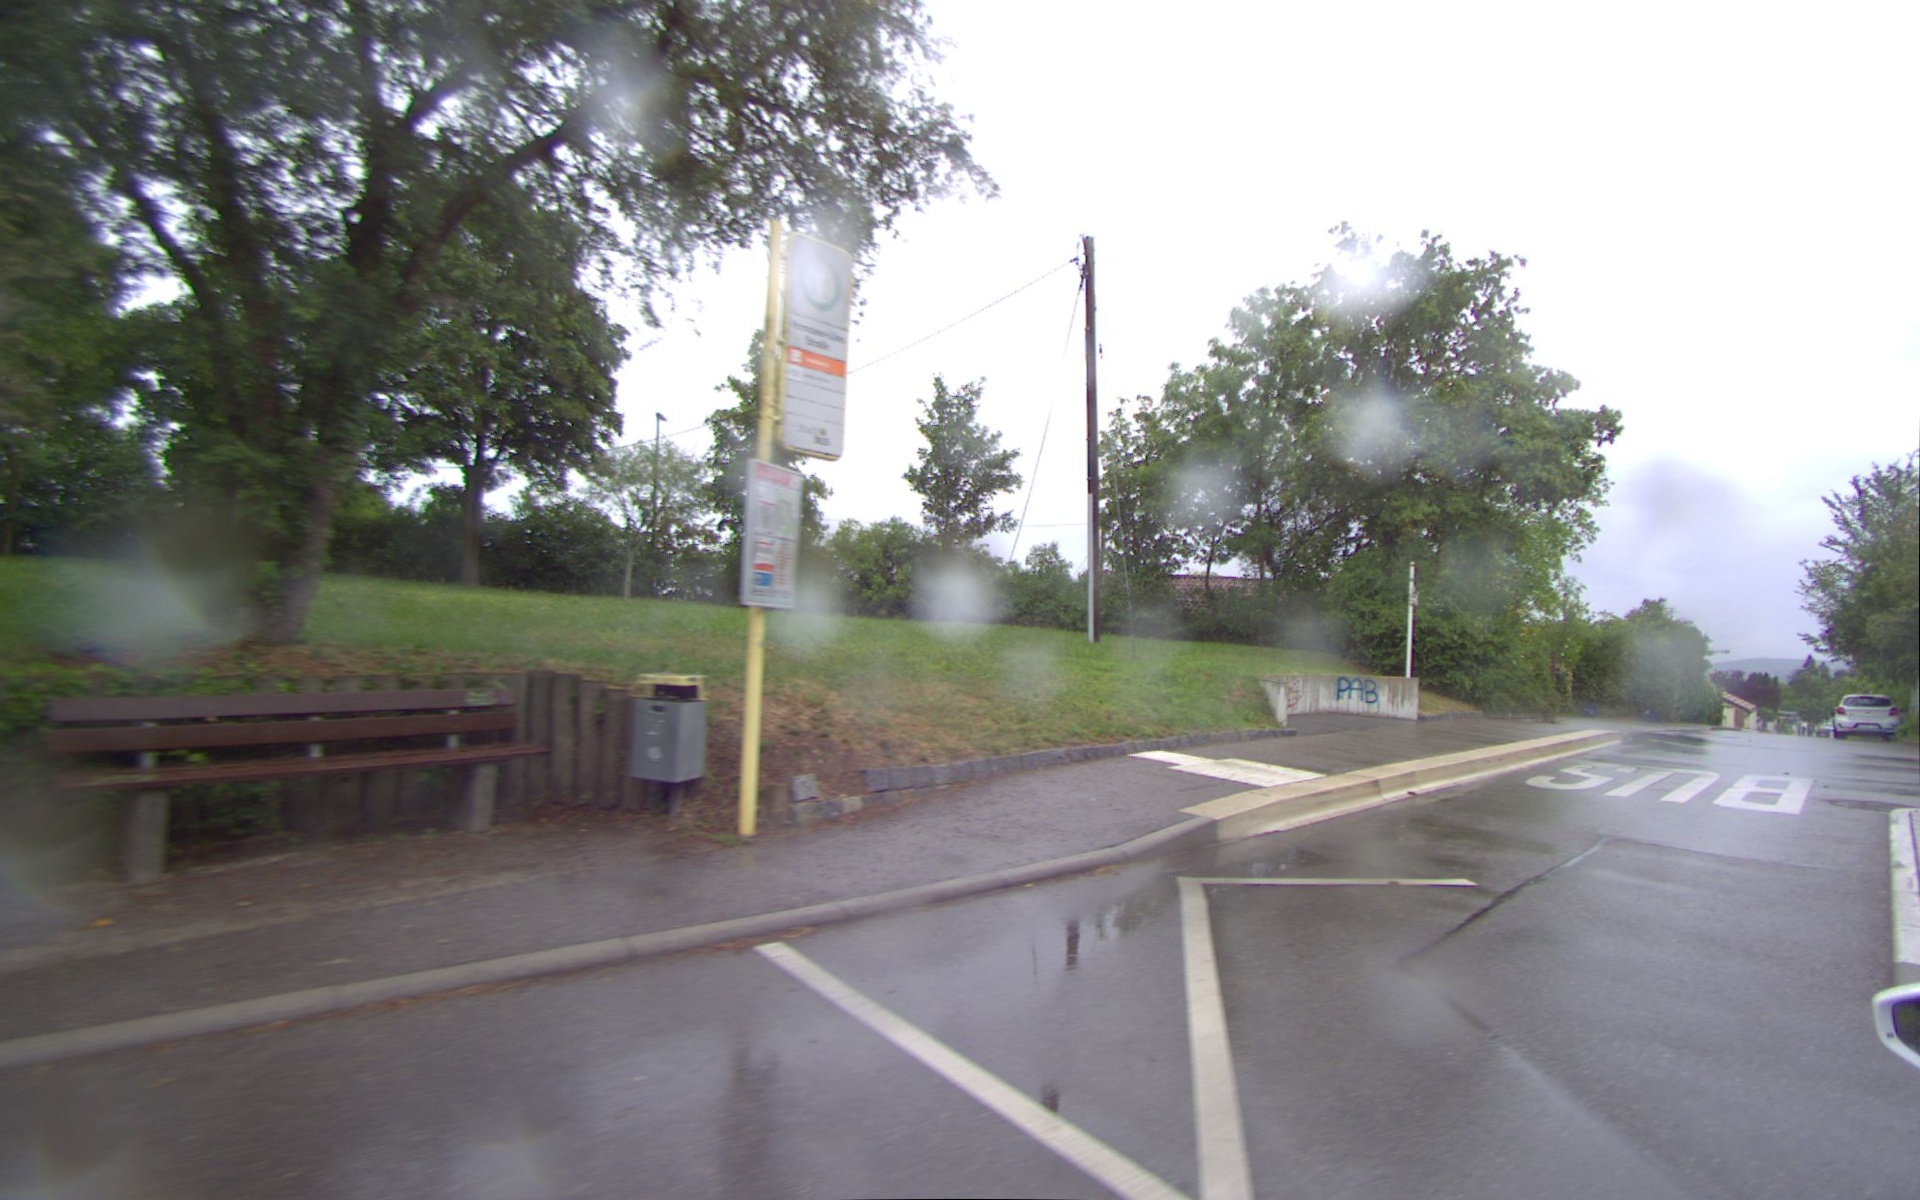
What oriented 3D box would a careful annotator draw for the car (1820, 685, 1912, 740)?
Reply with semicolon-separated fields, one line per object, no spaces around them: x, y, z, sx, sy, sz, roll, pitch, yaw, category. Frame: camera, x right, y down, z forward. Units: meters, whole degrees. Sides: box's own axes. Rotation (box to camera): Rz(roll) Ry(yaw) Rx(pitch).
30.644;3.819;33.946;3.974;1.603;1.975;8;-4;-43;car
